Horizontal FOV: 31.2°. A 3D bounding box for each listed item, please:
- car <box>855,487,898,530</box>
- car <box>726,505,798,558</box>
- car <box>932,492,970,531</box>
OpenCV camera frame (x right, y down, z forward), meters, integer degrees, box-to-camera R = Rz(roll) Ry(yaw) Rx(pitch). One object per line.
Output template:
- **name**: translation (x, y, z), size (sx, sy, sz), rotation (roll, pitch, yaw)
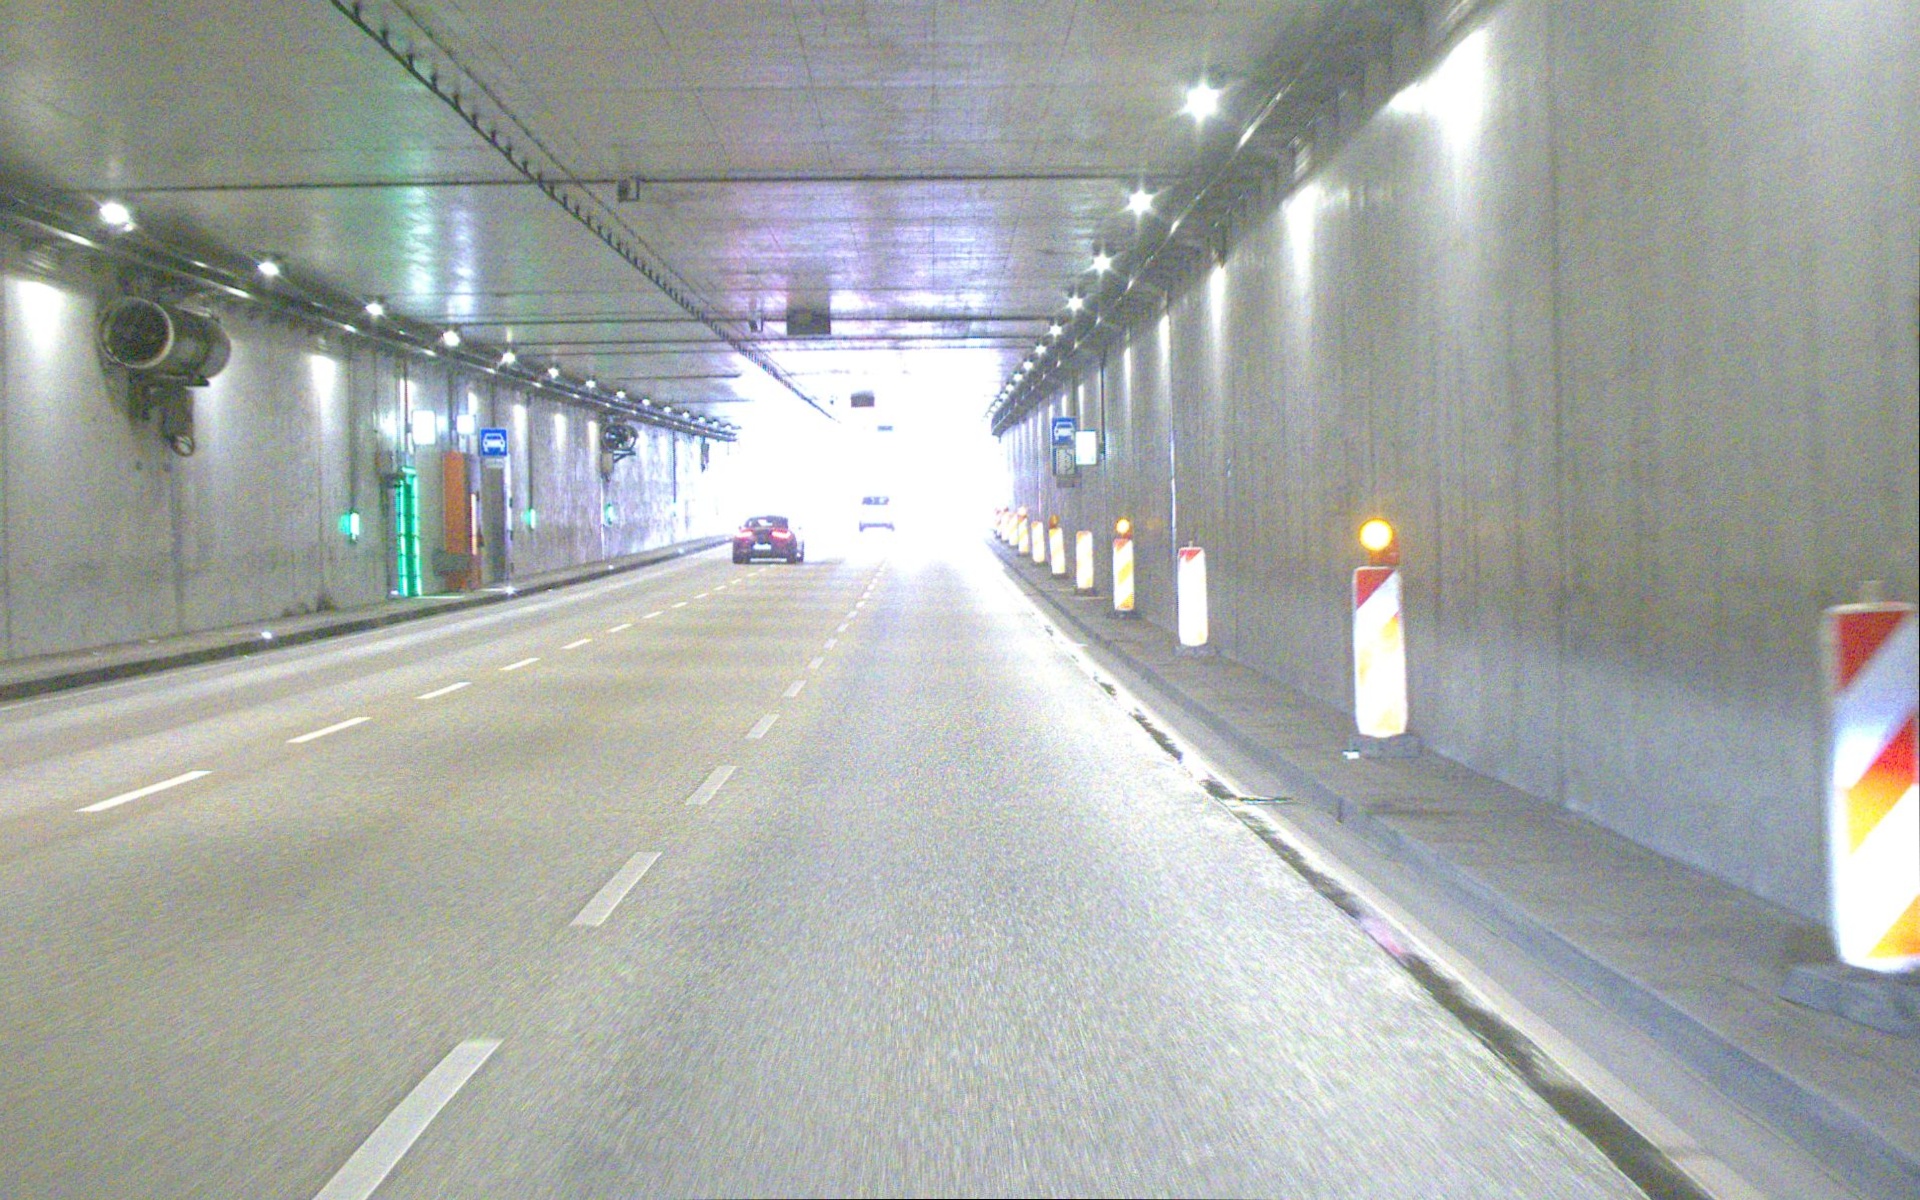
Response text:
- **car**: translation (-4.113, -4.501, 169.229), size (1.993, 2.007, 4.000), rotation (1, 0, 0)
- **car**: translation (-5.856, -2.018, 101.434), size (1.993, 1.443, 4.315), rotation (3, 1, -4)
- **car**: translation (-0.476, -4.747, 184.415), size (1.993, 2.007, 4.000), rotation (1, 0, 0)
